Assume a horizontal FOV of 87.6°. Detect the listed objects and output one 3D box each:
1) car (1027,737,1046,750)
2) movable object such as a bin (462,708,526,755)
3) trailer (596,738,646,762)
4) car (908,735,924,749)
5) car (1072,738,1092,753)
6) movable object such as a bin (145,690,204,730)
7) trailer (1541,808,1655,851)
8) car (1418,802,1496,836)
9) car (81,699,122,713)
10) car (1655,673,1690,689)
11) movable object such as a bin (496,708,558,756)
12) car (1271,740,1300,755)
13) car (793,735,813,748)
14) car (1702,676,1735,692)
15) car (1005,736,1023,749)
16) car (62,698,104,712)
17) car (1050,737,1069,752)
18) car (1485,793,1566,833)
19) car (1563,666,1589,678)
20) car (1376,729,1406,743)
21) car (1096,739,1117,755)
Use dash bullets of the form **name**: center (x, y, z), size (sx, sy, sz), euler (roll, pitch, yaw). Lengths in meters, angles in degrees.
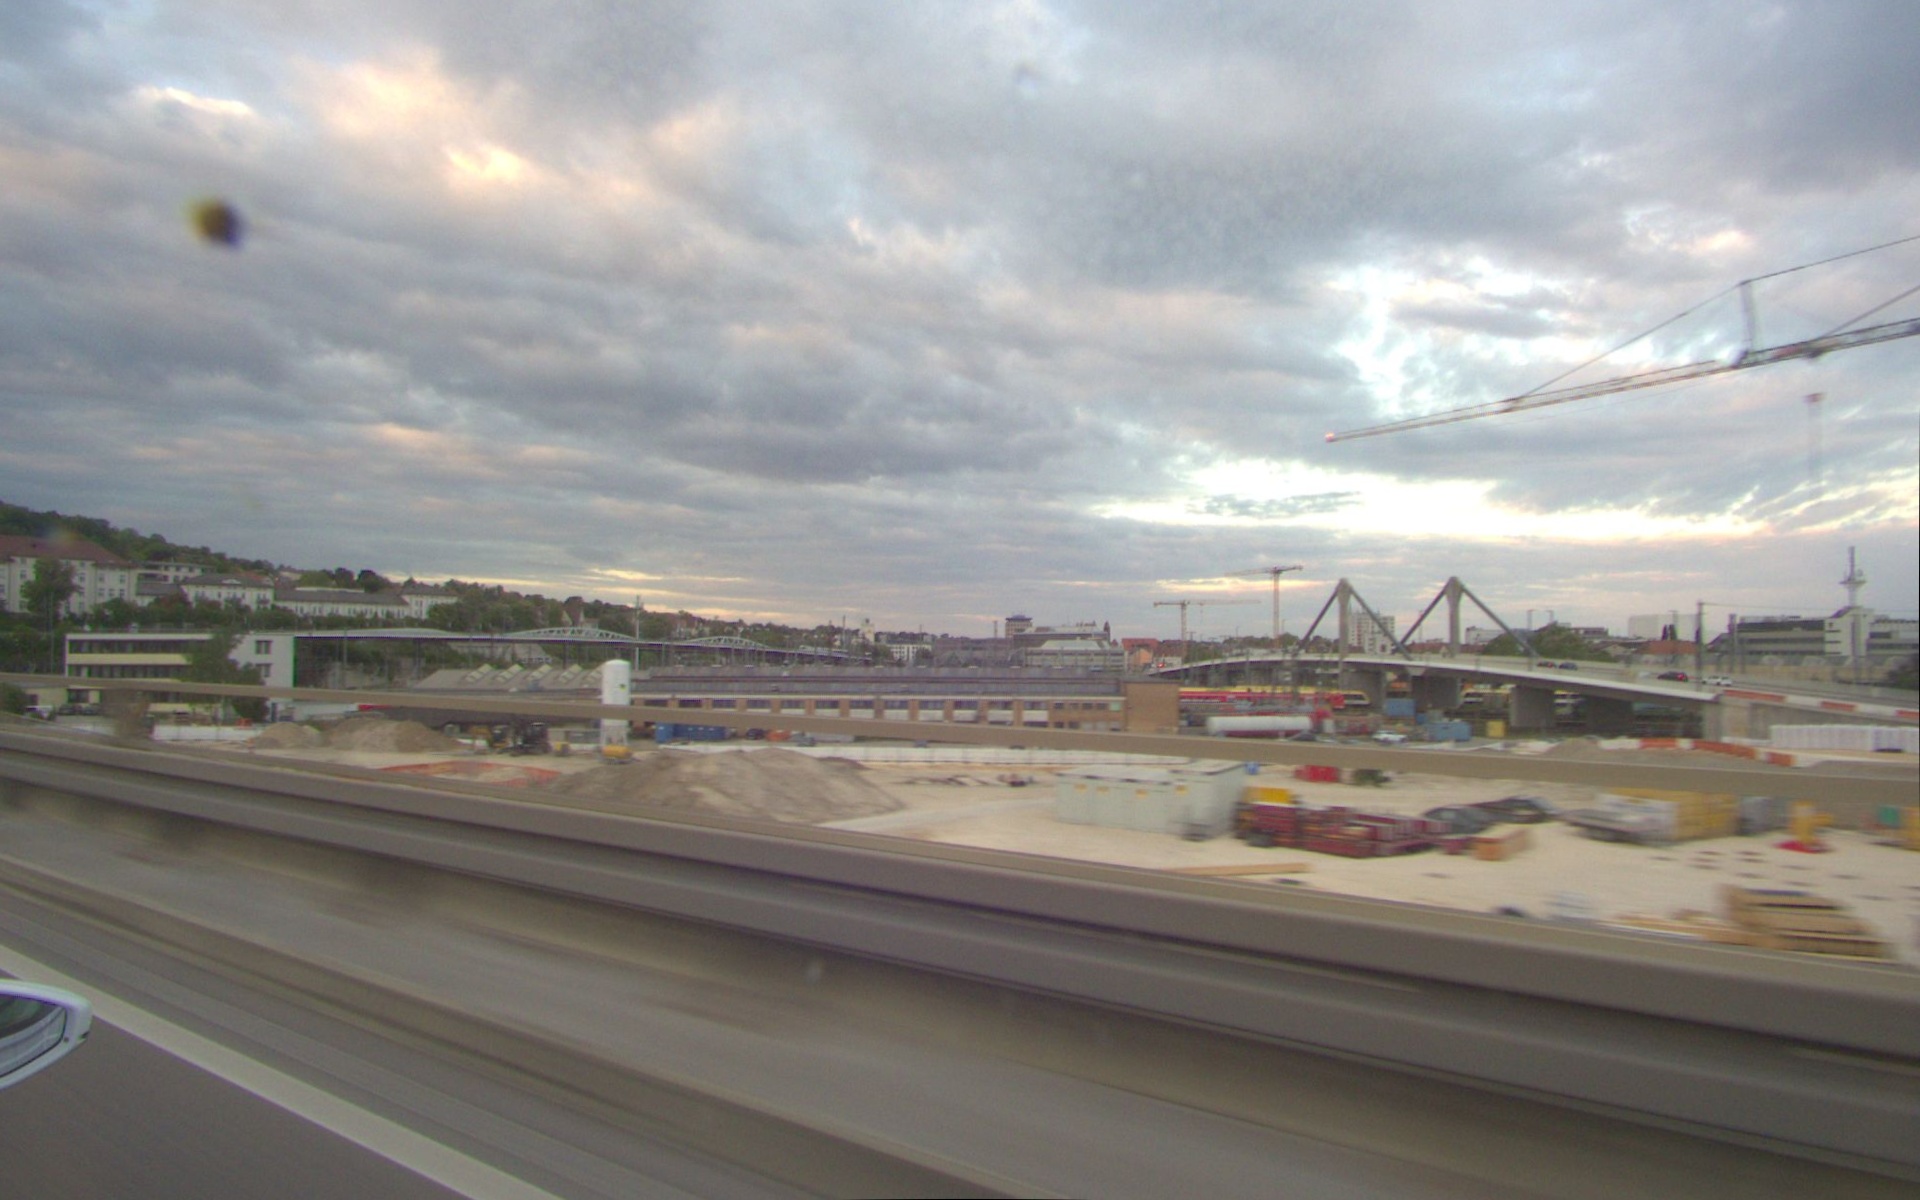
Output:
- **car**: center (9.370, 17.579, 122.746), size (1.835, 1.435, 4.010), euler (4, -8, -1)
- **movable object such as a bin**: center (-45.673, 12.921, 98.227), size (2.733, 4.356, 4.965), euler (1, -8, 15)
- **trailer**: center (-30.528, 13.524, 90.134), size (3.779, 1.823, 1.999), euler (1, -7, 24)
- **car**: center (-5.403, 17.404, 122.806), size (1.835, 1.435, 4.010), euler (4, -8, -1)
- **car**: center (14.890, 17.778, 122.621), size (1.835, 1.669, 4.010), euler (4, -7, -1)
- **movable object such as a bin**: center (-93.245, 13.080, 118.910), size (4.868, 4.356, 2.787), euler (1, -7, 18)
- **trailer**: center (29.896, 10.733, 47.042), size (1.760, 1.256, 4.230), euler (4, -4, -31)
- **car**: center (28.224, 12.433, 56.980), size (1.510, 1.457, 3.780), euler (8, -8, -30)
- **car**: center (-108.434, 13.349, 126.519), size (1.797, 1.583, 4.006), euler (5, -6, -3)
- **car**: center (105.231, 11.948, 147.941), size (1.962, 2.039, 3.999), euler (4, -1, -5)
- **movable object such as a bin**: center (-41.998, 12.890, 97.284), size (2.733, 4.356, 4.965), euler (1, -8, 15)
- **car**: center (39.752, 18.010, 122.436), size (1.835, 1.539, 4.348), euler (1, -4, -5)
- **car**: center (-19.290, 17.417, 123.522), size (1.835, 1.435, 4.010), euler (4, -8, -1)
- **car**: center (108.934, 12.049, 143.797), size (1.565, 1.761, 3.704), euler (5, -1, -5)
- **car**: center (6.582, 17.417, 122.854), size (1.835, 1.435, 4.010), euler (4, -8, -1)
- **car**: center (-111.511, 13.378, 127.389), size (1.797, 1.583, 4.006), euler (5, -6, -3)
- **car**: center (12.192, 17.701, 122.834), size (1.835, 1.733, 4.010), euler (4, -7, -1)
- **car**: center (34.323, 12.897, 60.843), size (1.664, 1.942, 3.983), euler (8, -8, -30)
- **car**: center (107.190, 12.532, 174.251), size (1.743, 1.761, 3.999), euler (5, -1, -5)
- **car**: center (58.719, 18.529, 136.374), size (3.618, 1.593, 1.440), euler (5, -7, -11)
- **car**: center (17.816, 17.913, 122.070), size (1.835, 1.669, 4.010), euler (4, -7, -1)
